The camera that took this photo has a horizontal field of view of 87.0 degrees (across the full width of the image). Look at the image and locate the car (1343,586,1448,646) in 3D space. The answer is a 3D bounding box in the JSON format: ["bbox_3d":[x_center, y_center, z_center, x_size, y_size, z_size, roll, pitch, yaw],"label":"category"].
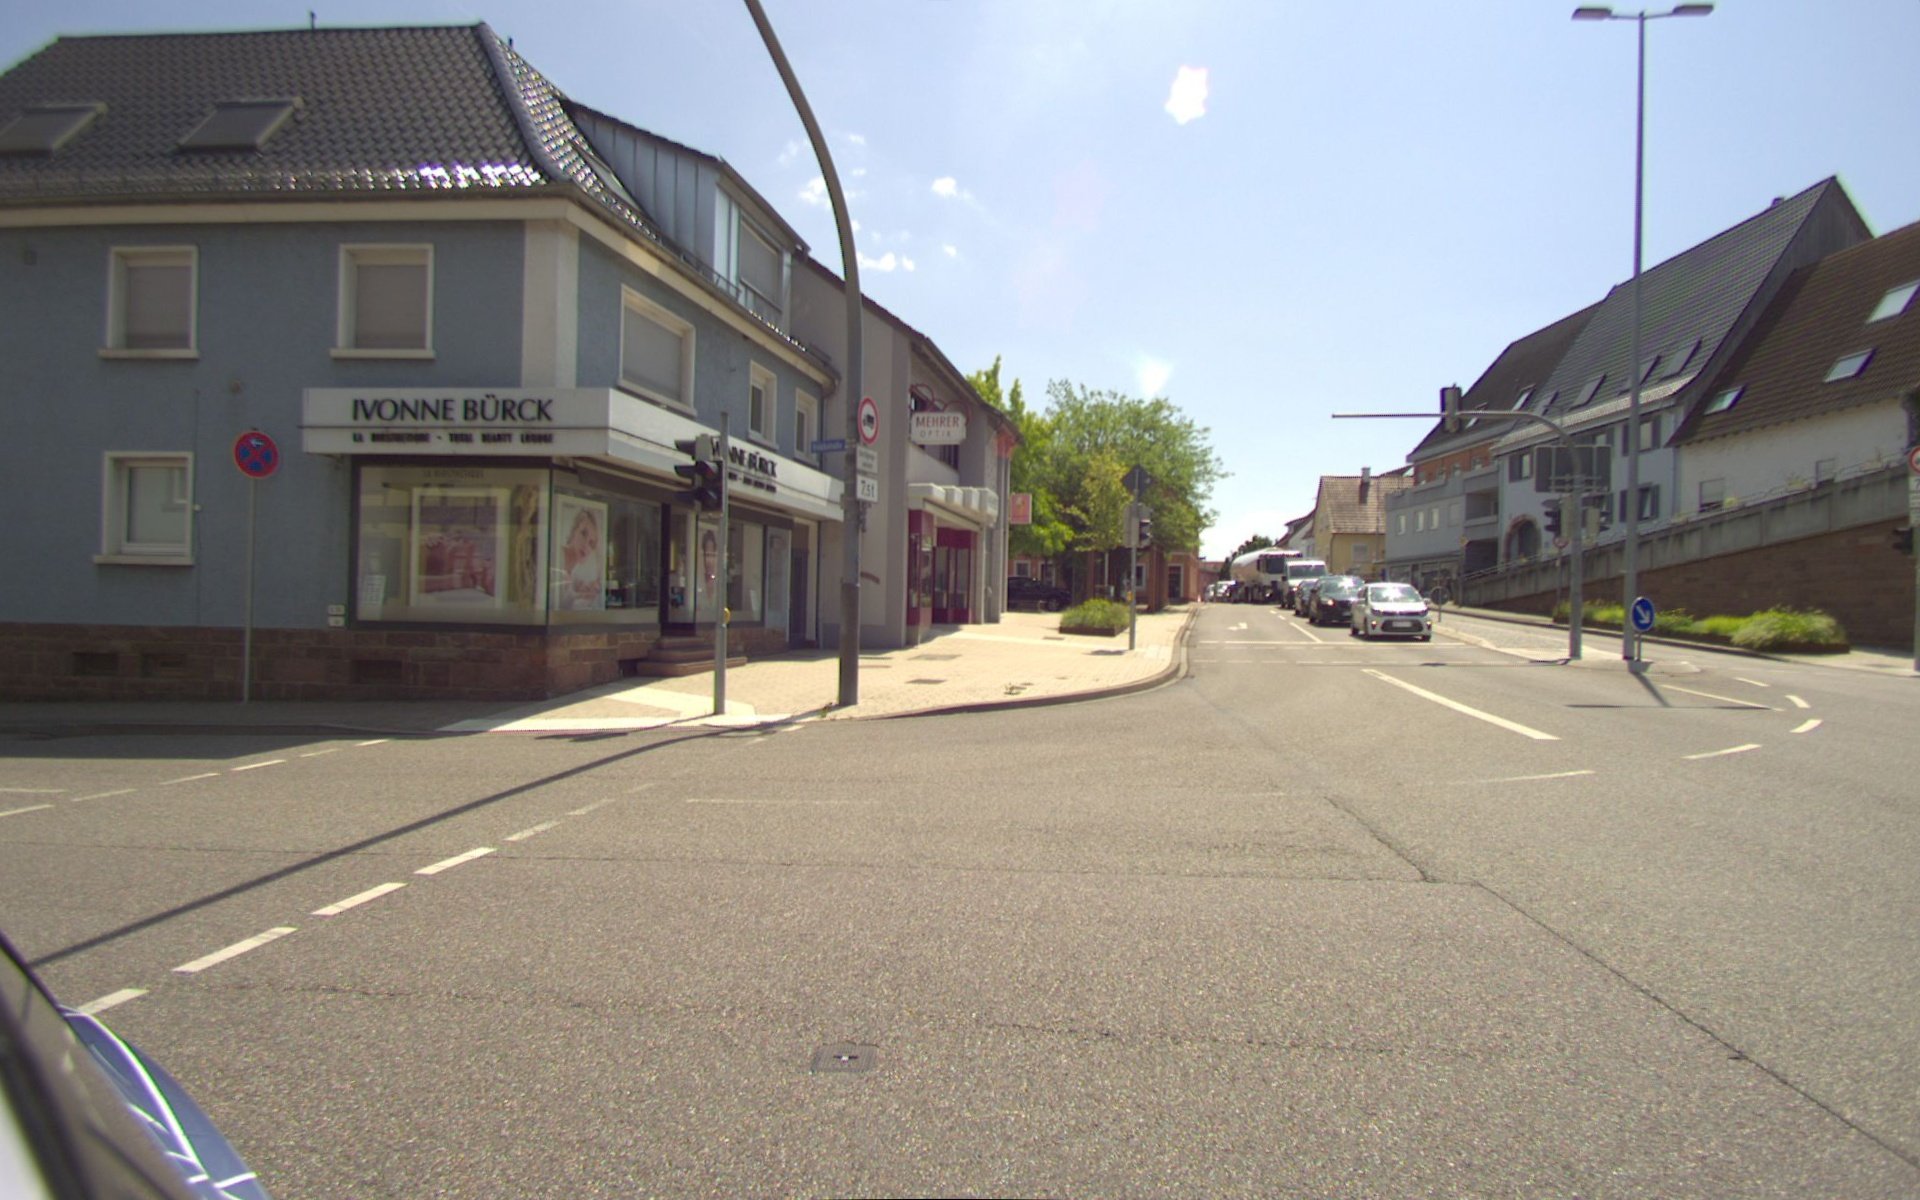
[{"bbox_3d":[11.754,0.383,27.576,1.845,1.490,3.985,-1,1,12],"label":"car"}]

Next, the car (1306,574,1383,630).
[{"bbox_3d":[12.754,0.032,33.788,1.845,1.727,3.984,-1,1,13],"label":"car"}]

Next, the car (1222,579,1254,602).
[{"bbox_3d":[21.368,-0.788,77.802,1.978,1.648,3.988,-1,2,10],"label":"car"}]

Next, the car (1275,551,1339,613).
[{"bbox_3d":[17.074,-0.906,50.115,2.281,2.842,6.480,-1,1,13],"label":"car"}]

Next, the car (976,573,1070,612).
[{"bbox_3d":[2.903,-0.331,46.265,3.963,1.691,1.990,-1,0,16],"label":"car"}]

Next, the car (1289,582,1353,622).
[{"bbox_3d":[14.460,0.039,40.723,1.845,1.490,3.985,-1,1,12],"label":"car"}]

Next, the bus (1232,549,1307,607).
[{"bbox_3d":[19.062,-1.336,63.135,2.518,3.192,12.619,-1,1,8],"label":"bus"}]

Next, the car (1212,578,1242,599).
[{"bbox_3d":[22.353,-0.968,84.866,1.978,1.648,3.989,-1,1,9],"label":"car"}]
